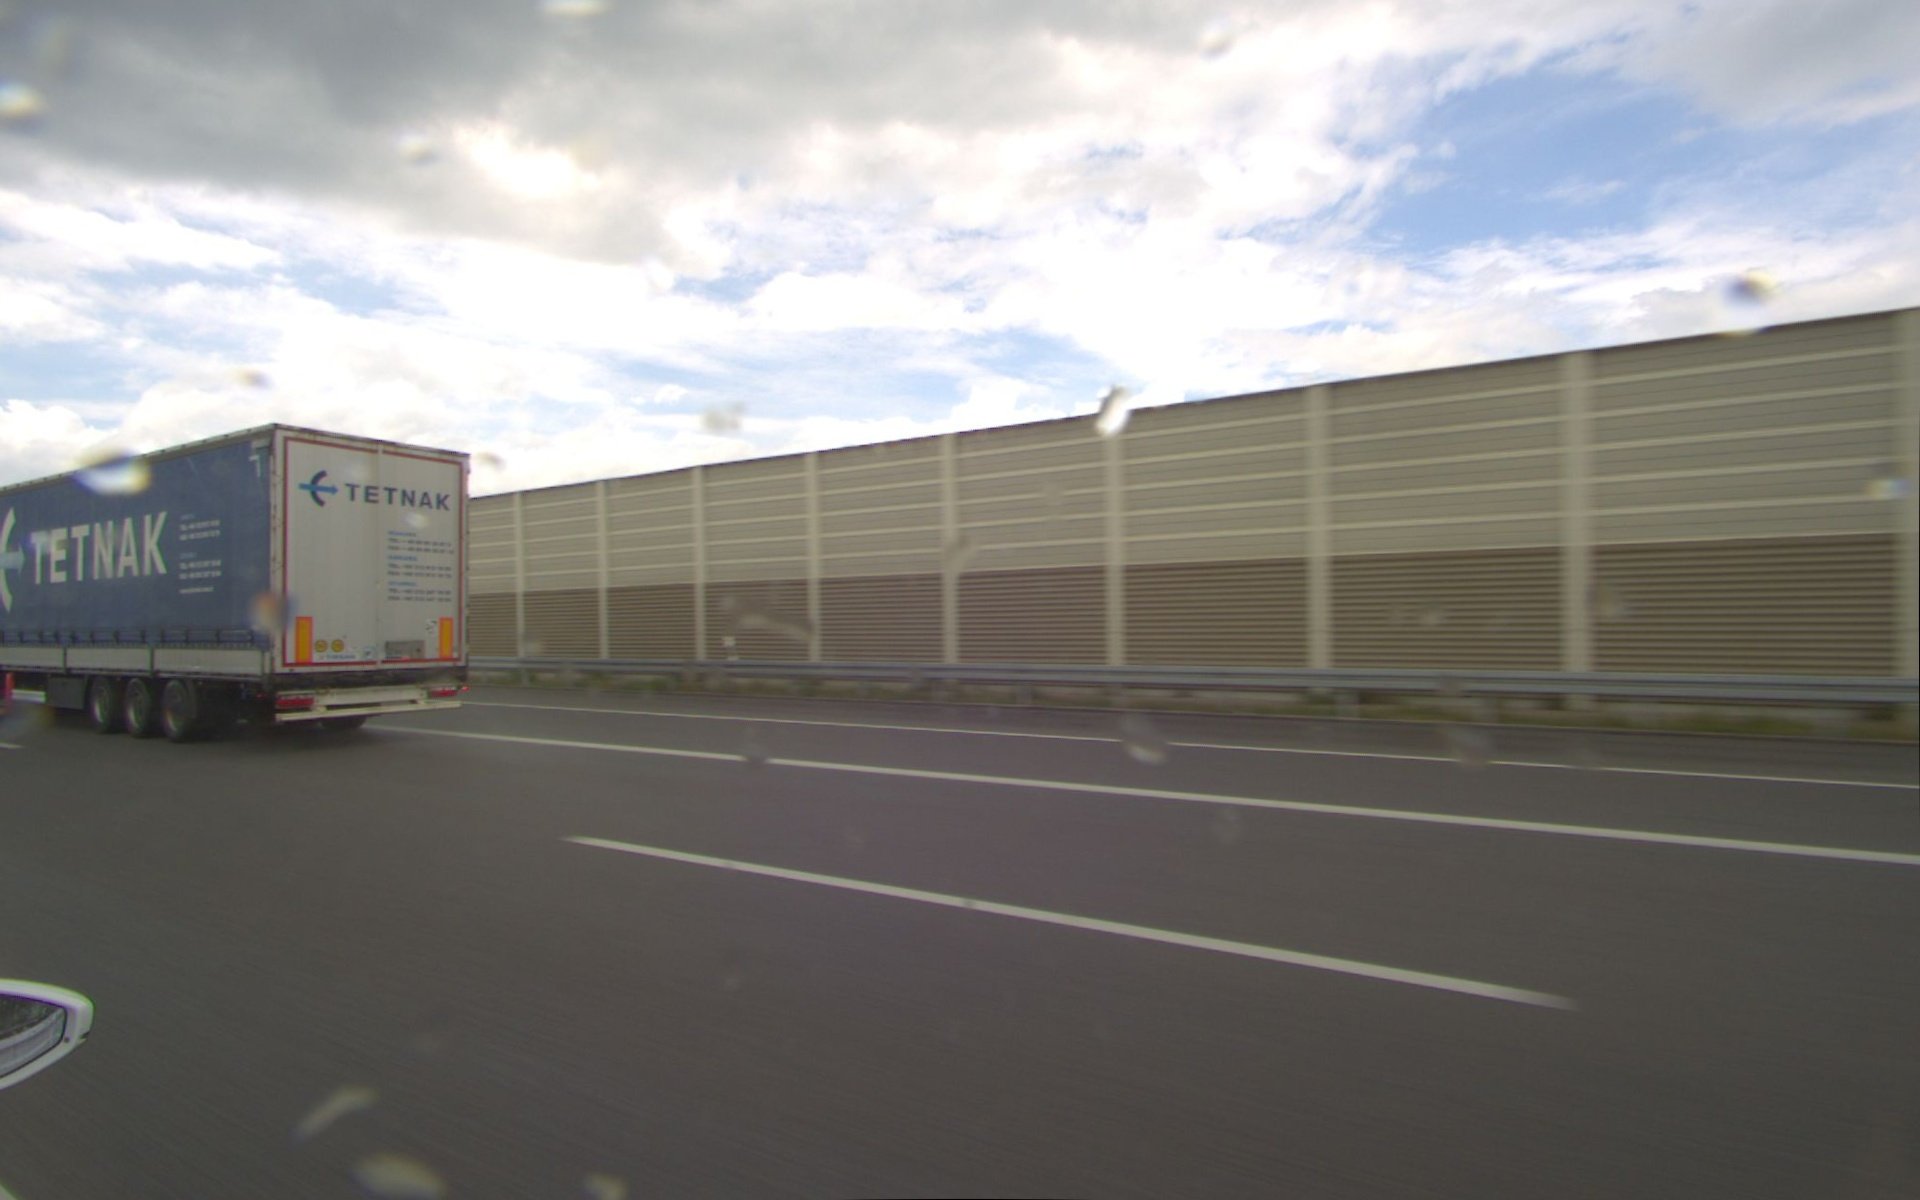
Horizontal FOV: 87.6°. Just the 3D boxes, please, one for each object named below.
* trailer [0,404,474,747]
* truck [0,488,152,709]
[{"bbox_3d":[-13.634,-0.108,16.963,14.249,4.083,2.756,-1,-1,33],"label":"trailer"},{"bbox_3d":[-19.610,0.047,20.838,5.645,4.086,2.739,-1,-1,33],"label":"truck"}]
